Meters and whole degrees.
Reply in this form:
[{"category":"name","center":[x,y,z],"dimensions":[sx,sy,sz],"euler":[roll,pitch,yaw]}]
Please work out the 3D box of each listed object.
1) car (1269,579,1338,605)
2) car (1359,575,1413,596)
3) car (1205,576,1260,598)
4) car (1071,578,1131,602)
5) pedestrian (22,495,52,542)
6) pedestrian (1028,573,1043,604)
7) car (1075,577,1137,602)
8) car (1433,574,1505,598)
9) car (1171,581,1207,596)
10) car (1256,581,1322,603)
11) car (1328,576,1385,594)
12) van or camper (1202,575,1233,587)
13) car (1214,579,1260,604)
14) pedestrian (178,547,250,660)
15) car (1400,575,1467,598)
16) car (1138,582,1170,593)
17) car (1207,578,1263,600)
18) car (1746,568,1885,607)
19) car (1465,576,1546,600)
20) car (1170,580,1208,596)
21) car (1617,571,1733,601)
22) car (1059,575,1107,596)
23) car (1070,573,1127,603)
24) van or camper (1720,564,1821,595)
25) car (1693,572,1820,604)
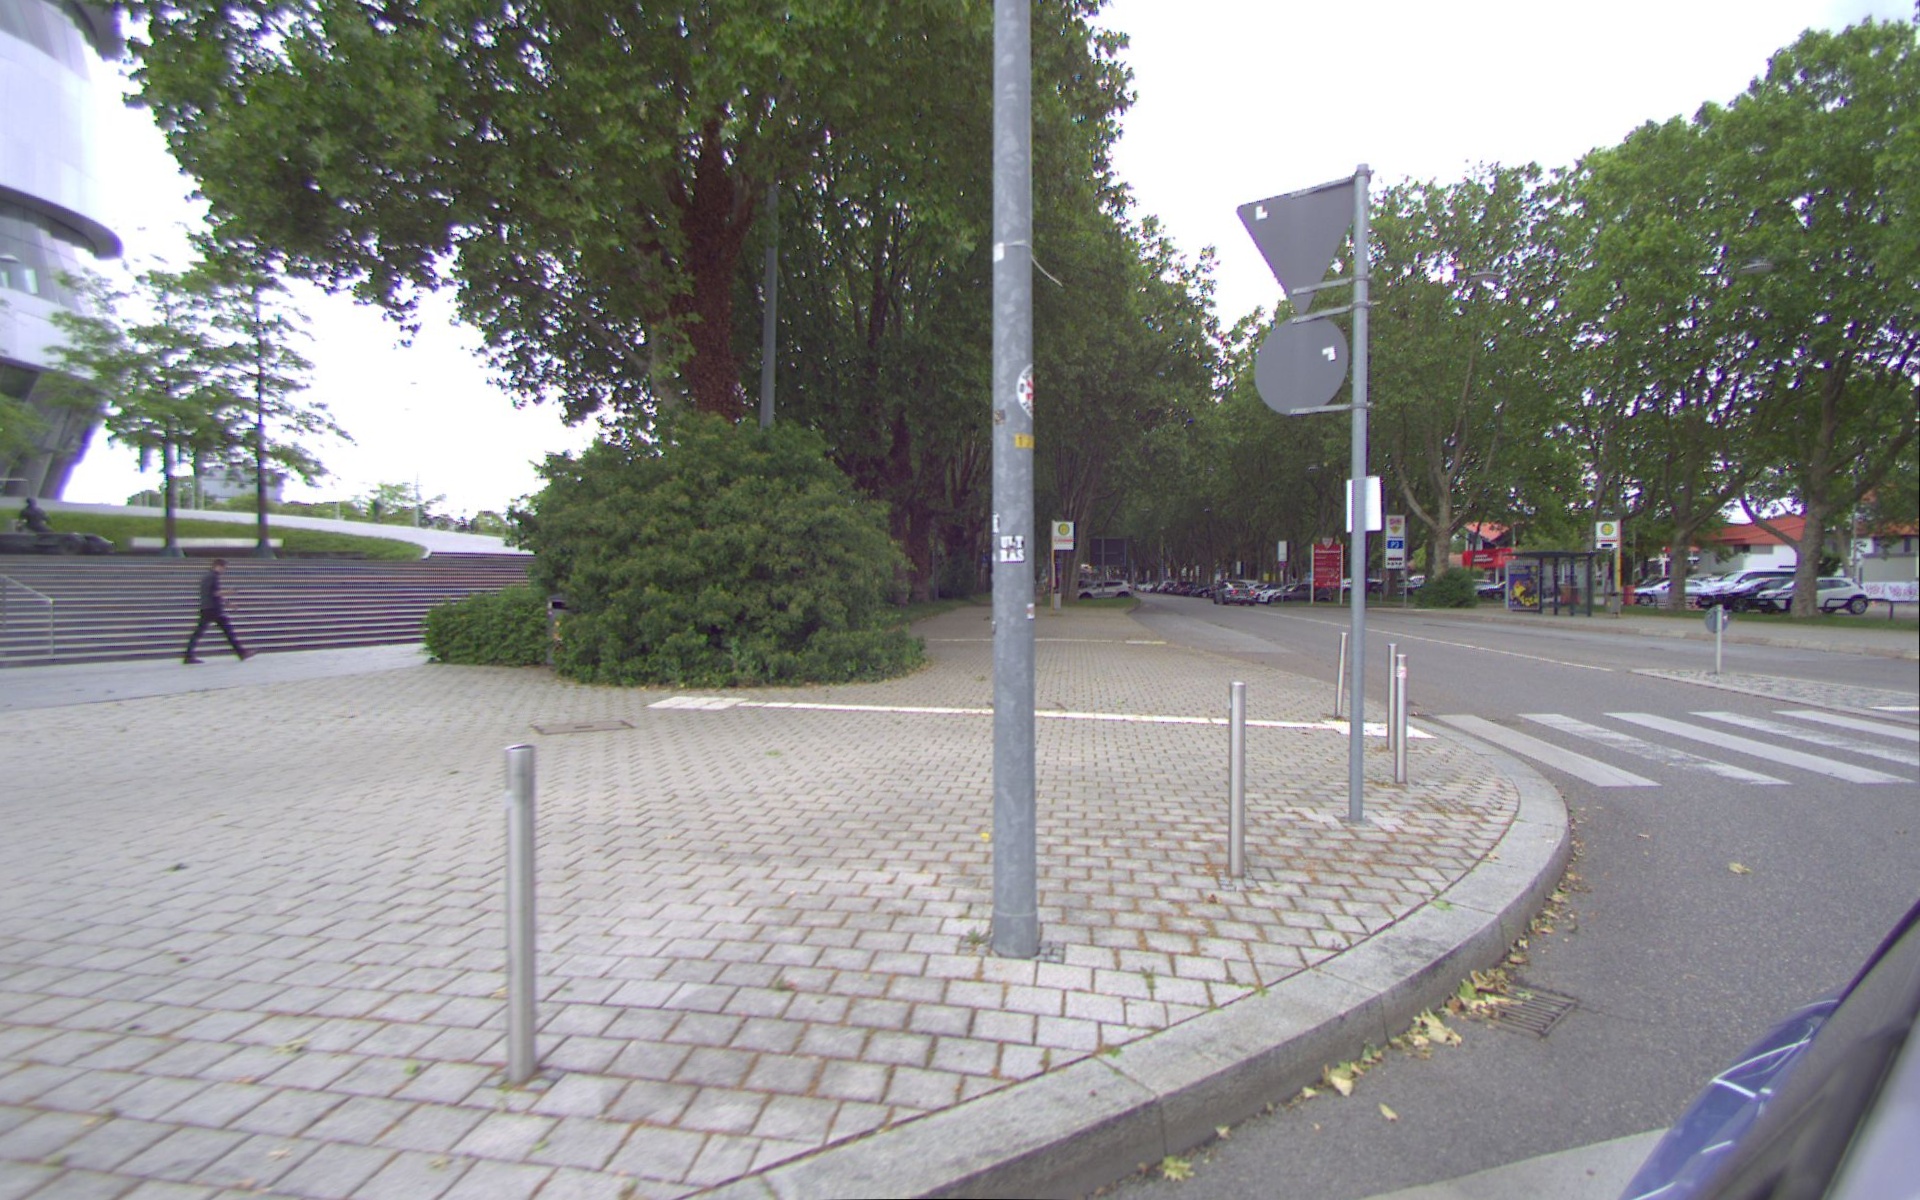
[{"category":"car","center":[22.281,-0.518,65.839],"dimensions":[3.939,1.559,1.801],"euler":[-1,1,8]},{"category":"car","center":[40.135,-1.363,95.469],"dimensions":[4.258,1.884,2.026],"euler":[-1,1,5]},{"category":"car","center":[23.788,-1.124,88.338],"dimensions":[4.252,1.833,1.866],"euler":[2,0,2]},{"category":"car","center":[10.419,-0.724,75.052],"dimensions":[4.285,1.625,1.922],"euler":[-2,0,7]},{"category":"pedestrian","center":[-26.444,-2.329,28.989],"dimensions":[0.613,1.284,0.498],"euler":[0,1,34]},{"category":"pedestrian","center":[4.894,-0.754,65.711],"dimensions":[0.771,2.039,0.600],"euler":[-1,1,-11]},{"category":"car","center":[10.404,-0.744,72.421],"dimensions":[4.285,1.654,1.922],"euler":[-2,0,7]},{"category":"car","center":[38.105,-1.051,75.881],"dimensions":[4.258,1.731,2.129],"euler":[-1,1,5]},{"category":"car","center":[26.161,-1.316,115.789],"dimensions":[3.876,1.535,1.725],"euler":[1,0,7]},{"category":"car","center":[22.167,-0.540,68.275],"dimensions":[3.941,1.402,1.907],"euler":[-1,1,10]},{"category":"car","center":[40.244,-1.551,102.823],"dimensions":[4.867,1.819,2.181],"euler":[0,0,4]},{"category":"van or camper","center":[48.372,-3.564,190.035],"dimensions":[5.206,2.126,2.243],"euler":[-1,1,4]},{"category":"car","center":[17.299,-0.558,63.420],"dimensions":[1.873,1.471,4.810],"euler":[1,1,4]},{"category":"pedestrian","center":[-12.448,0.056,16.903],"dimensions":[0.703,1.845,0.622],"euler":[-1,1,4]},{"category":"car","center":[38.943,-1.154,83.330],"dimensions":[4.453,1.784,2.294],"euler":[-1,1,5]},{"category":"car","center":[28.363,-1.873,147.927],"dimensions":[4.343,1.442,1.774],"euler":[1,0,5]},{"category":"car","center":[23.297,-0.940,85.866],"dimensions":[4.256,1.817,2.034],"euler":[-1,1,6]},{"category":"car","center":[35.560,-0.521,42.178],"dimensions":[3.930,1.541,1.999],"euler":[-1,1,6]},{"category":"car","center":[36.985,-0.816,68.692],"dimensions":[4.258,1.567,2.201],"euler":[-1,1,5]},{"category":"car","center":[25.657,-1.330,113.449],"dimensions":[3.873,1.730,1.750],"euler":[1,0,5]},{"category":"car","center":[40.246,-0.792,57.119],"dimensions":[4.916,1.571,2.087],"euler":[-1,1,20]},{"category":"car","center":[11.468,-1.340,94.585],"dimensions":[4.282,1.767,1.835],"euler":[-2,0,4]},{"category":"car","center":[9.835,-0.852,72.158],"dimensions":[3.931,2.039,1.997],"euler":[-2,0,6]},{"category":"van or camper","center":[48.727,-1.234,60.915],"dimensions":[4.258,1.731,2.129],"euler":[-1,1,5]},{"category":"car","center":[35.296,-0.541,44.952],"dimensions":[3.929,1.340,1.999],"euler":[-1,1,5]}]
